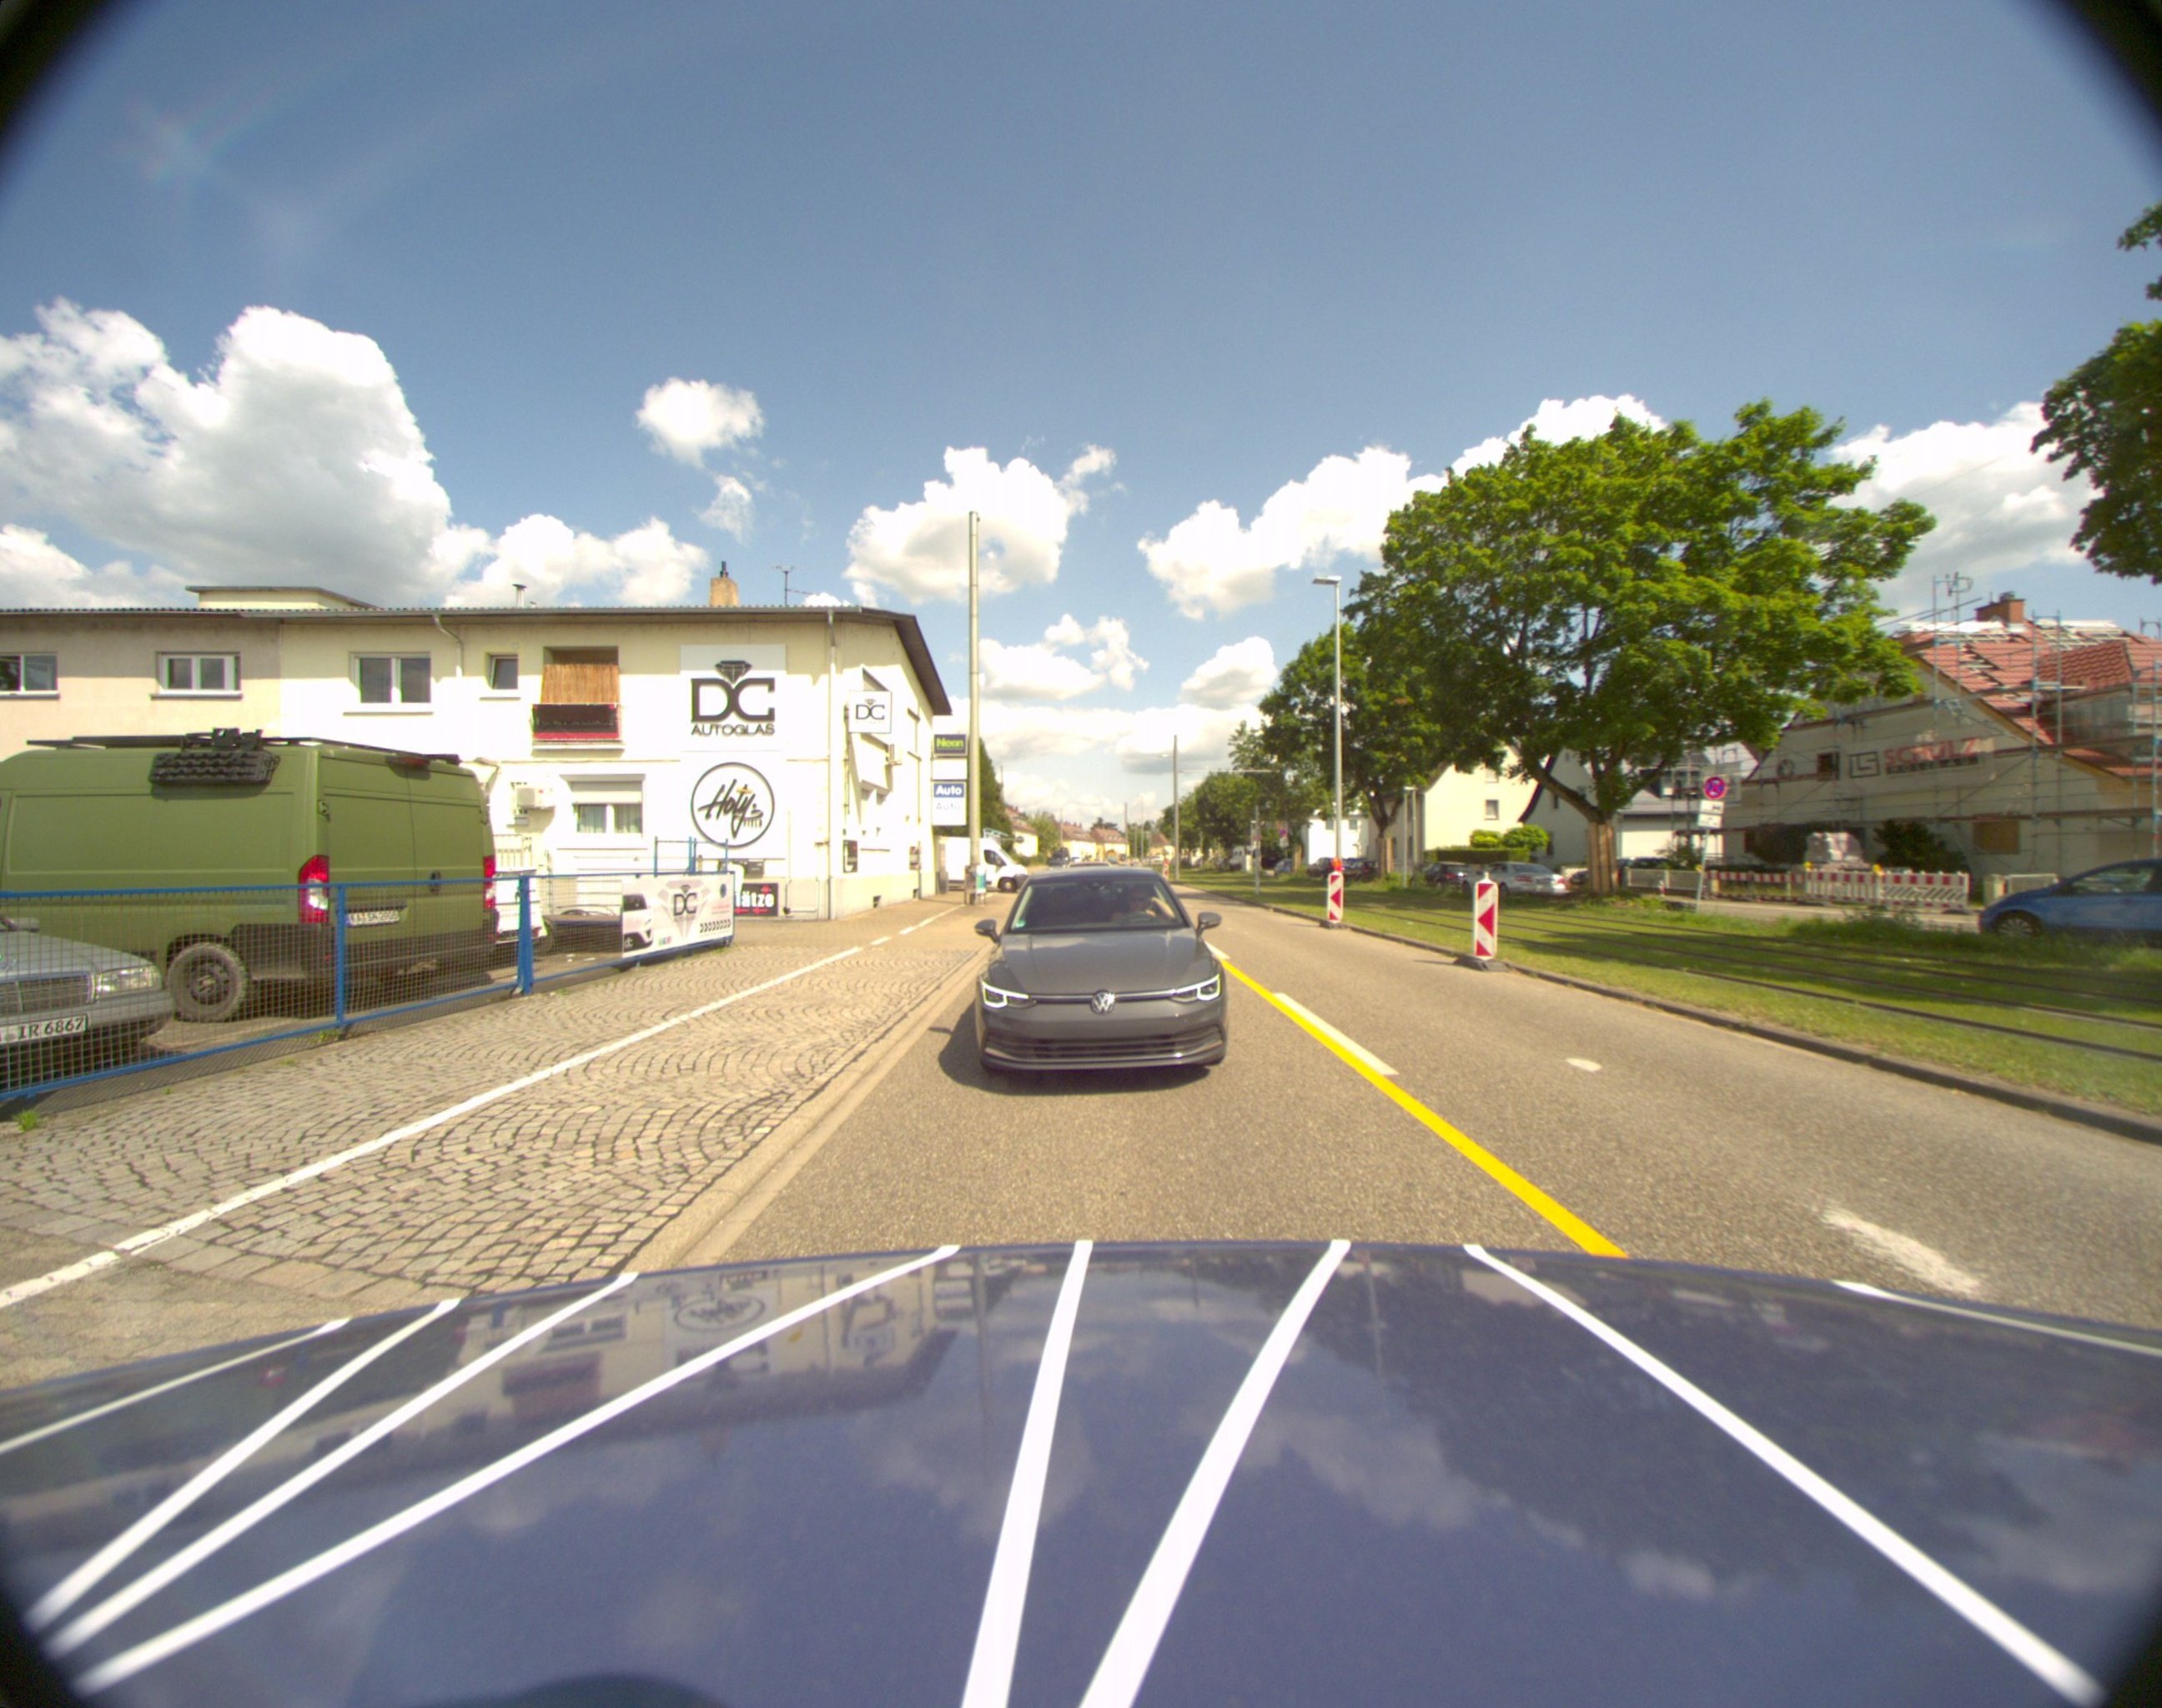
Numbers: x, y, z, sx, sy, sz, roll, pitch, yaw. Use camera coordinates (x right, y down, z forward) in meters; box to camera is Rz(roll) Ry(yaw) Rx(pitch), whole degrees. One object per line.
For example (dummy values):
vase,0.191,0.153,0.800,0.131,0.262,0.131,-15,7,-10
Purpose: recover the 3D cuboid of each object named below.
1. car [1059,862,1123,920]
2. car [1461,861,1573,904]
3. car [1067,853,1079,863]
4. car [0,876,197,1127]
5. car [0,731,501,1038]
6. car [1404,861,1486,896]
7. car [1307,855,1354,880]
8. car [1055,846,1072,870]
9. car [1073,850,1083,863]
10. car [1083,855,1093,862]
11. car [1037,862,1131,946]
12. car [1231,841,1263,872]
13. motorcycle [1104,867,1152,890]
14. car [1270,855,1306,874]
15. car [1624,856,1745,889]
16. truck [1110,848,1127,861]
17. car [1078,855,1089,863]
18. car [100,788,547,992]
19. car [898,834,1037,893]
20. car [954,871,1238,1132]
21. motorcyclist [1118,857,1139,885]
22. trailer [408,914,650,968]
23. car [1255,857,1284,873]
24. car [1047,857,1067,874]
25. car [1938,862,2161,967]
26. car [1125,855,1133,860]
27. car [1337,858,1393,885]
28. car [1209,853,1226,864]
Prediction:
car,0.294,1.008,22.234,1.702,1.477,4.000,0,0,1
car,16.438,1.063,28.937,1.788,1.477,4.523,-1,-1,2
car,-1.306,0.667,123.042,1.701,1.574,4.001,0,0,3
car,-8.453,0.887,4.776,4.282,1.444,1.713,0,0,8
car,-8.720,0.270,7.611,4.207,2.627,2.113,0,0,2
car,16.632,1.117,34.939,1.702,1.477,4.407,-1,-1,1
car,16.561,0.895,50.662,1.702,1.562,4.407,-1,-1,1
car,-1.905,0.445,82.441,1.702,2.510,5.144,0,0,0
car,-0.485,0.414,136.211,1.701,2.233,4.947,0,0,2
car,1.453,0.900,155.839,1.701,1.574,4.002,0,0,7
car,0.086,0.938,15.838,1.702,1.477,4.000,0,0,1
car,16.824,0.269,77.273,2.136,3.019,5.084,-1,-1,1
motorcycle,2.193,1.137,35.398,2.106,1.040,0.660,0,0,21
car,16.651,0.871,61.283,1.702,1.477,4.407,-1,-1,1
car,28.912,0.886,36.512,4.402,1.477,1.704,-1,-1,1
truck,9.923,0.135,201.052,2.710,3.119,8.124,0,0,15
car,0.495,0.897,146.708,1.701,1.574,4.002,0,0,6
car,-9.494,0.429,9.739,4.207,2.392,1.586,0,0,2
car,-5.036,0.411,34.243,5.836,2.449,2.092,2,0,1
car,0.117,0.934,6.557,1.702,1.477,4.000,0,0,1
motorcyclist,2.210,0.764,35.377,0.778,1.284,0.660,0,0,21
trailer,-8.361,1.305,11.661,2.733,0.662,1.329,0,0,-1
car,17.653,1.073,71.328,1.702,1.477,4.407,-1,-1,1
car,-2.178,1.043,70.756,1.702,1.574,4.000,0,0,1
car,16.199,0.864,11.401,1.702,1.477,4.407,-1,-1,1
car,13.833,0.936,218.683,1.700,1.574,4.005,0,0,16
car,16.777,1.032,45.156,1.702,1.477,4.407,-1,-1,1
car,18.778,0.669,104.733,1.701,1.477,4.407,-1,-1,2
